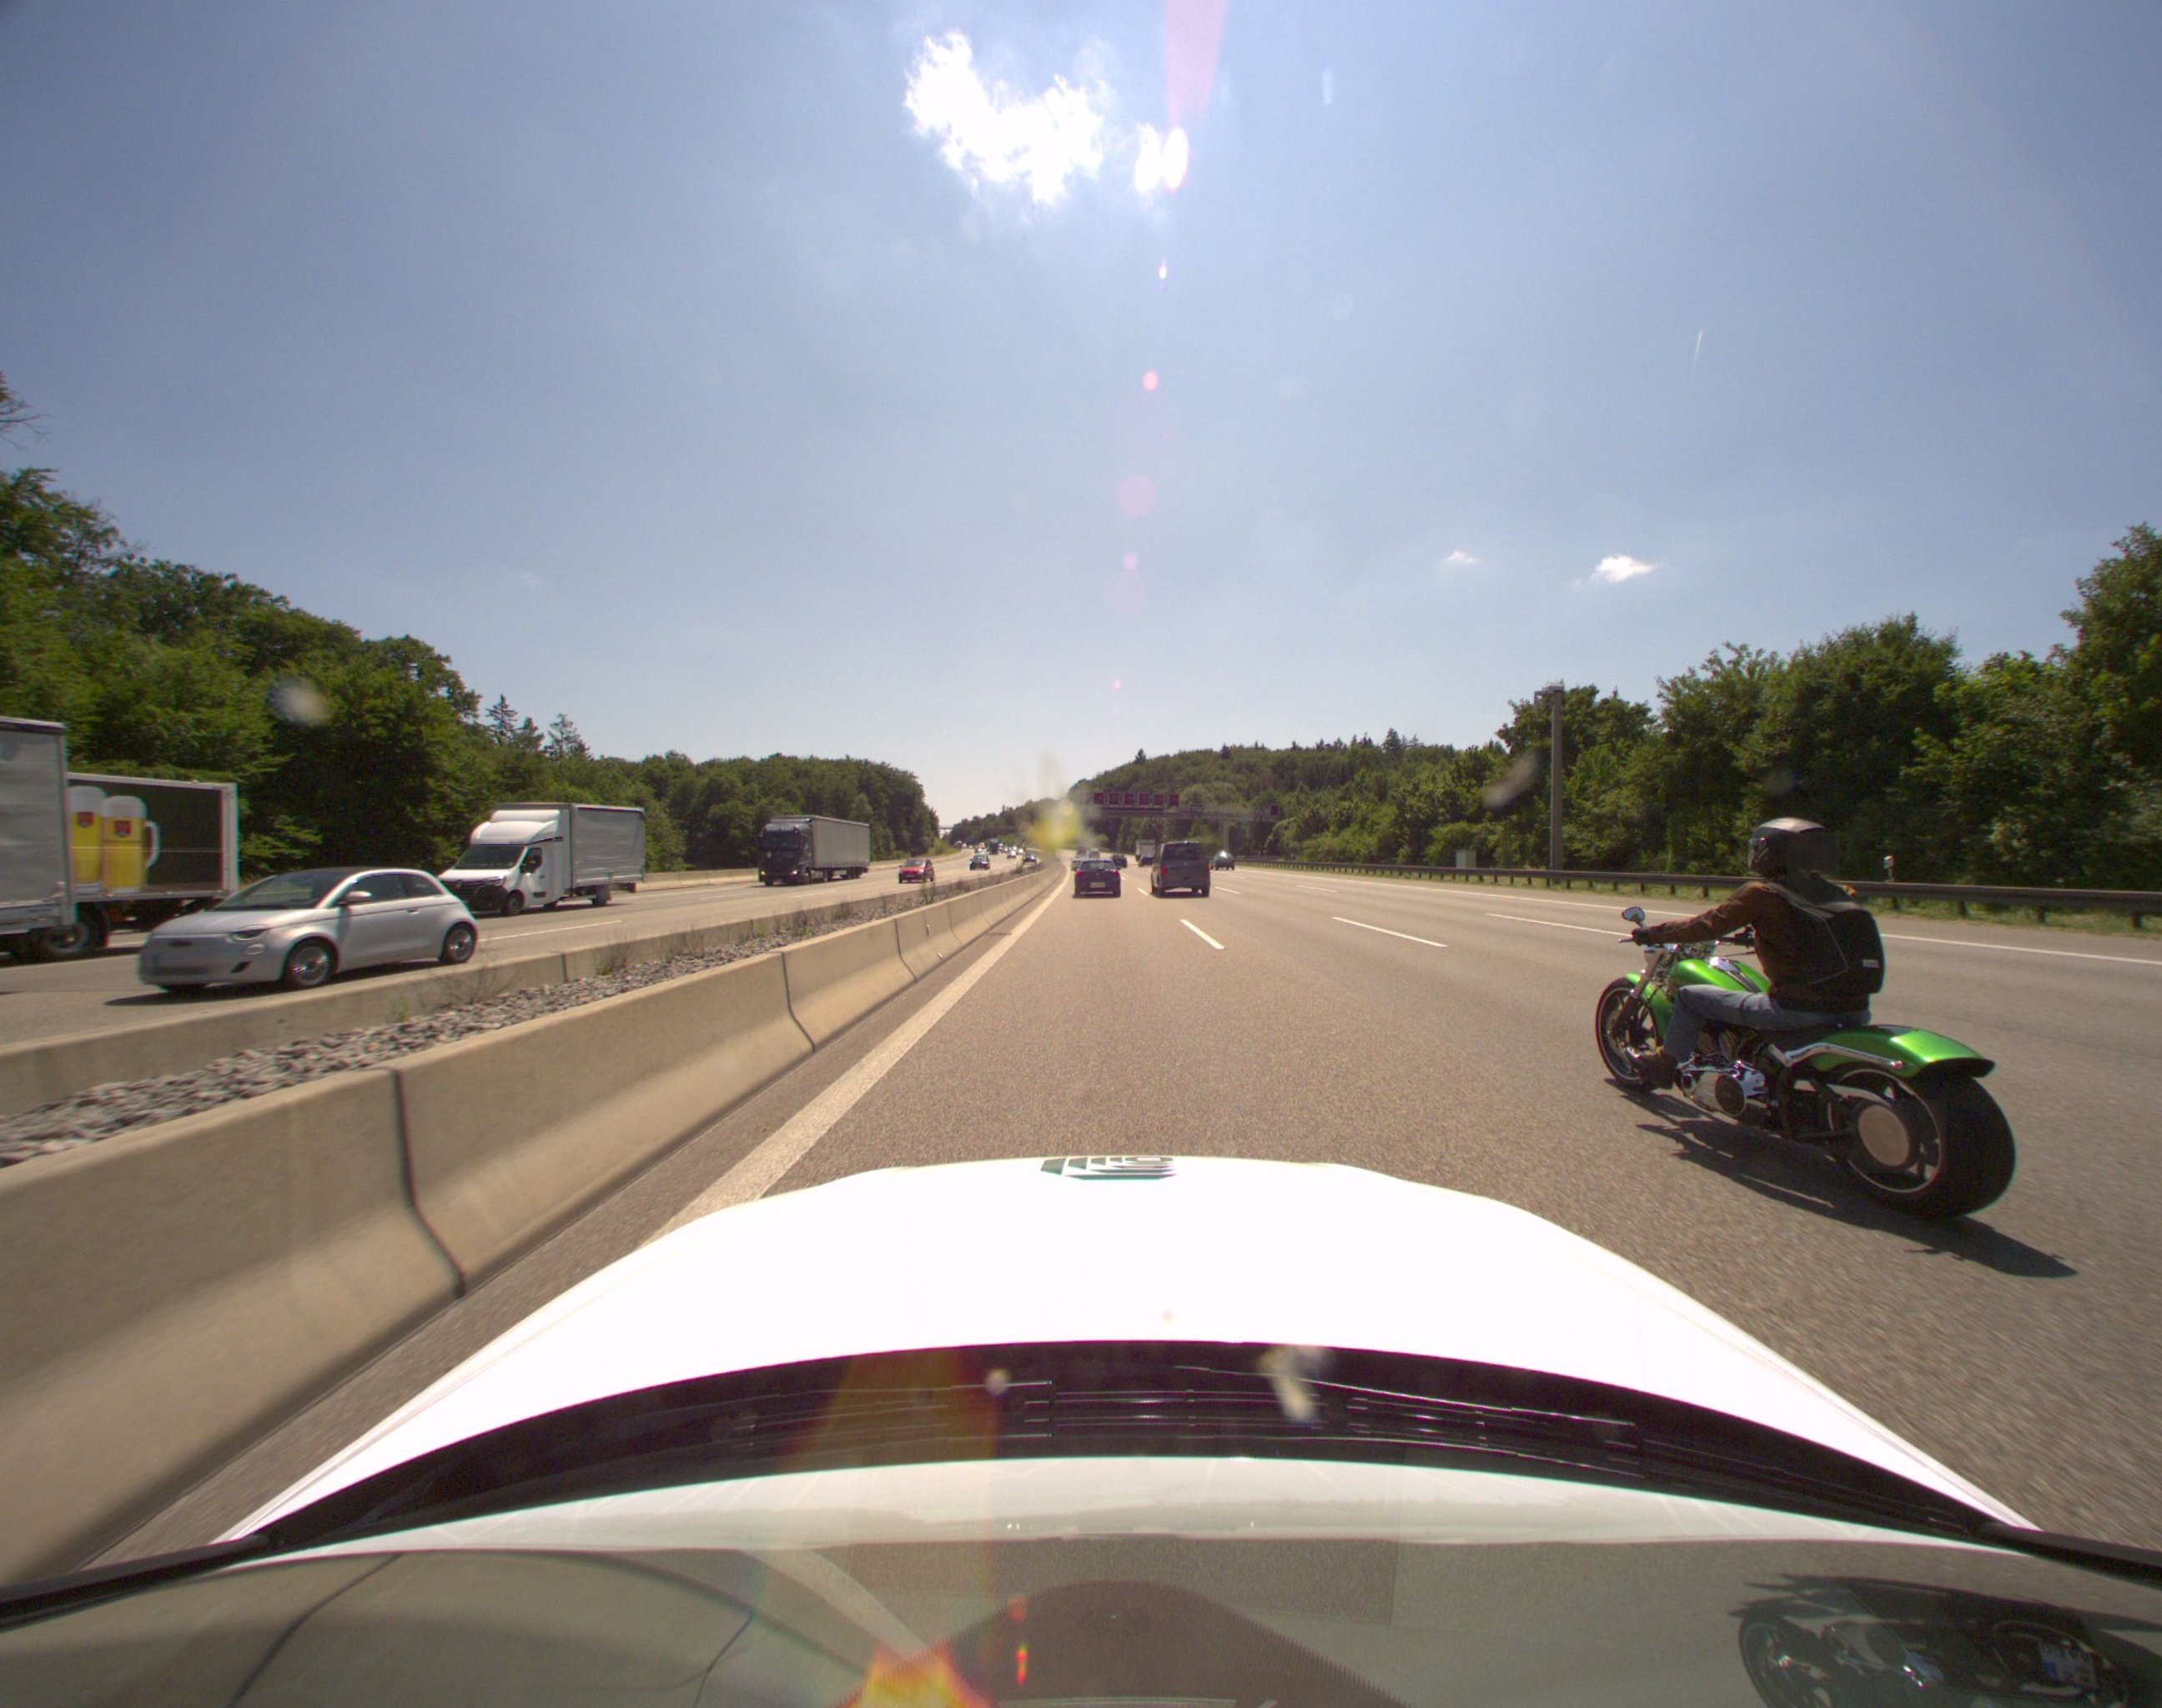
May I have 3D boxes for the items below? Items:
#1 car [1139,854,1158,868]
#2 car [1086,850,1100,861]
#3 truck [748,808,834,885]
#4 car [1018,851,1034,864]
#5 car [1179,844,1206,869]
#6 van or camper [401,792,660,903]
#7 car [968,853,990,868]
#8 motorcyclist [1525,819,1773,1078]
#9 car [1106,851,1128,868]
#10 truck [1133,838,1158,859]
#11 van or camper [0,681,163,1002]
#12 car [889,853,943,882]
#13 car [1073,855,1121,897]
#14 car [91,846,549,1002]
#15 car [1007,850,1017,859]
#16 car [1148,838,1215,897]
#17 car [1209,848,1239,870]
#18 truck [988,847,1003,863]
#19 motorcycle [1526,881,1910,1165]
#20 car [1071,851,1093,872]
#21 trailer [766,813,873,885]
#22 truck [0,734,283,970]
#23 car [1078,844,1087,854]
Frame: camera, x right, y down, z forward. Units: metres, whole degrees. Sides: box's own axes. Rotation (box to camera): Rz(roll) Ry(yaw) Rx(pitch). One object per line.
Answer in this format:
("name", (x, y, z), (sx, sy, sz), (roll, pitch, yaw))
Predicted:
("car", (7.279, 0.770, 88.182), (1.659, 1.408, 4.904), (-1, 1, 1))
("car", (1.907, 0.253, 130.961), (2.098, 1.744, 4.684), (-1, 1, -2))
("truck", (-17.314, -0.410, 49.053), (2.867, 4.290, 6.451), (-1, 0, -1))
("car", (-7.620, 0.454, 113.204), (1.987, 1.667, 4.433), (-1, 0, -1))
("car", (8.005, 0.217, 58.819), (1.840, 1.728, 4.007), (-1, -1, 6))
("van or camper", (-17.543, -0.093, 26.895), (2.754, 3.125, 8.097), (0, -1, 2))
("car", (-10.552, 0.722, 84.596), (1.755, 1.520, 4.360), (0, -1, 0))
("motorcyclist", (3.428, 0.530, 5.034), (0.848, 1.427, 1.025), (-1, 0, 6))
("car", (3.742, 0.582, 85.162), (1.988, 1.728, 4.147), (-1, -1, -1))
("truck", (9.744, -0.892, 124.052), (2.978, 3.166, 7.568), (-1, 1, -2))
("van or camper", (-14.438, -0.213, 7.300), (2.819, 3.839, 8.217), (0, -1, 2))
("car", (-10.328, 0.837, 51.470), (2.279, 1.728, 5.031), (-1, 0, 1))
("car", (0.611, 0.800, 31.060), (1.702, 1.433, 4.001), (0, 1, 1))
("car", (-10.406, 0.806, 11.895), (1.733, 1.762, 5.121), (-1, 0, 2))
("car", (-13.975, 0.089, 165.631), (1.750, 1.635, 4.635), (-1, 1, -2))
("car", (3.738, 0.483, 31.137), (1.956, 2.033, 5.083), (-1, 0, 0))
("car", (12.202, 0.415, 69.740), (1.986, 1.728, 4.002), (-1, 0, 2))
("truck", (-23.439, 0.301, 223.315), (3.778, 4.177, 5.871), (0, 0, -4))
("motorcycle", (3.427, 0.776, 4.752), (0.533, 1.135, 2.441), (-1, 0, 6))
("car", (0.038, 0.744, 77.740), (2.006, 1.846, 3.997), (-1, -3, -1))
("trailer", (-17.389, -0.284, 55.539), (2.856, 4.262, 13.954), (-1, 0, -1))
("truck", (-18.348, -0.044, 12.381), (2.857, 3.697, 9.247), (0, -1, 3))
("car", (0.407, -1.145, 201.002), (2.257, 2.371, 4.703), (-1, 0, 1))
